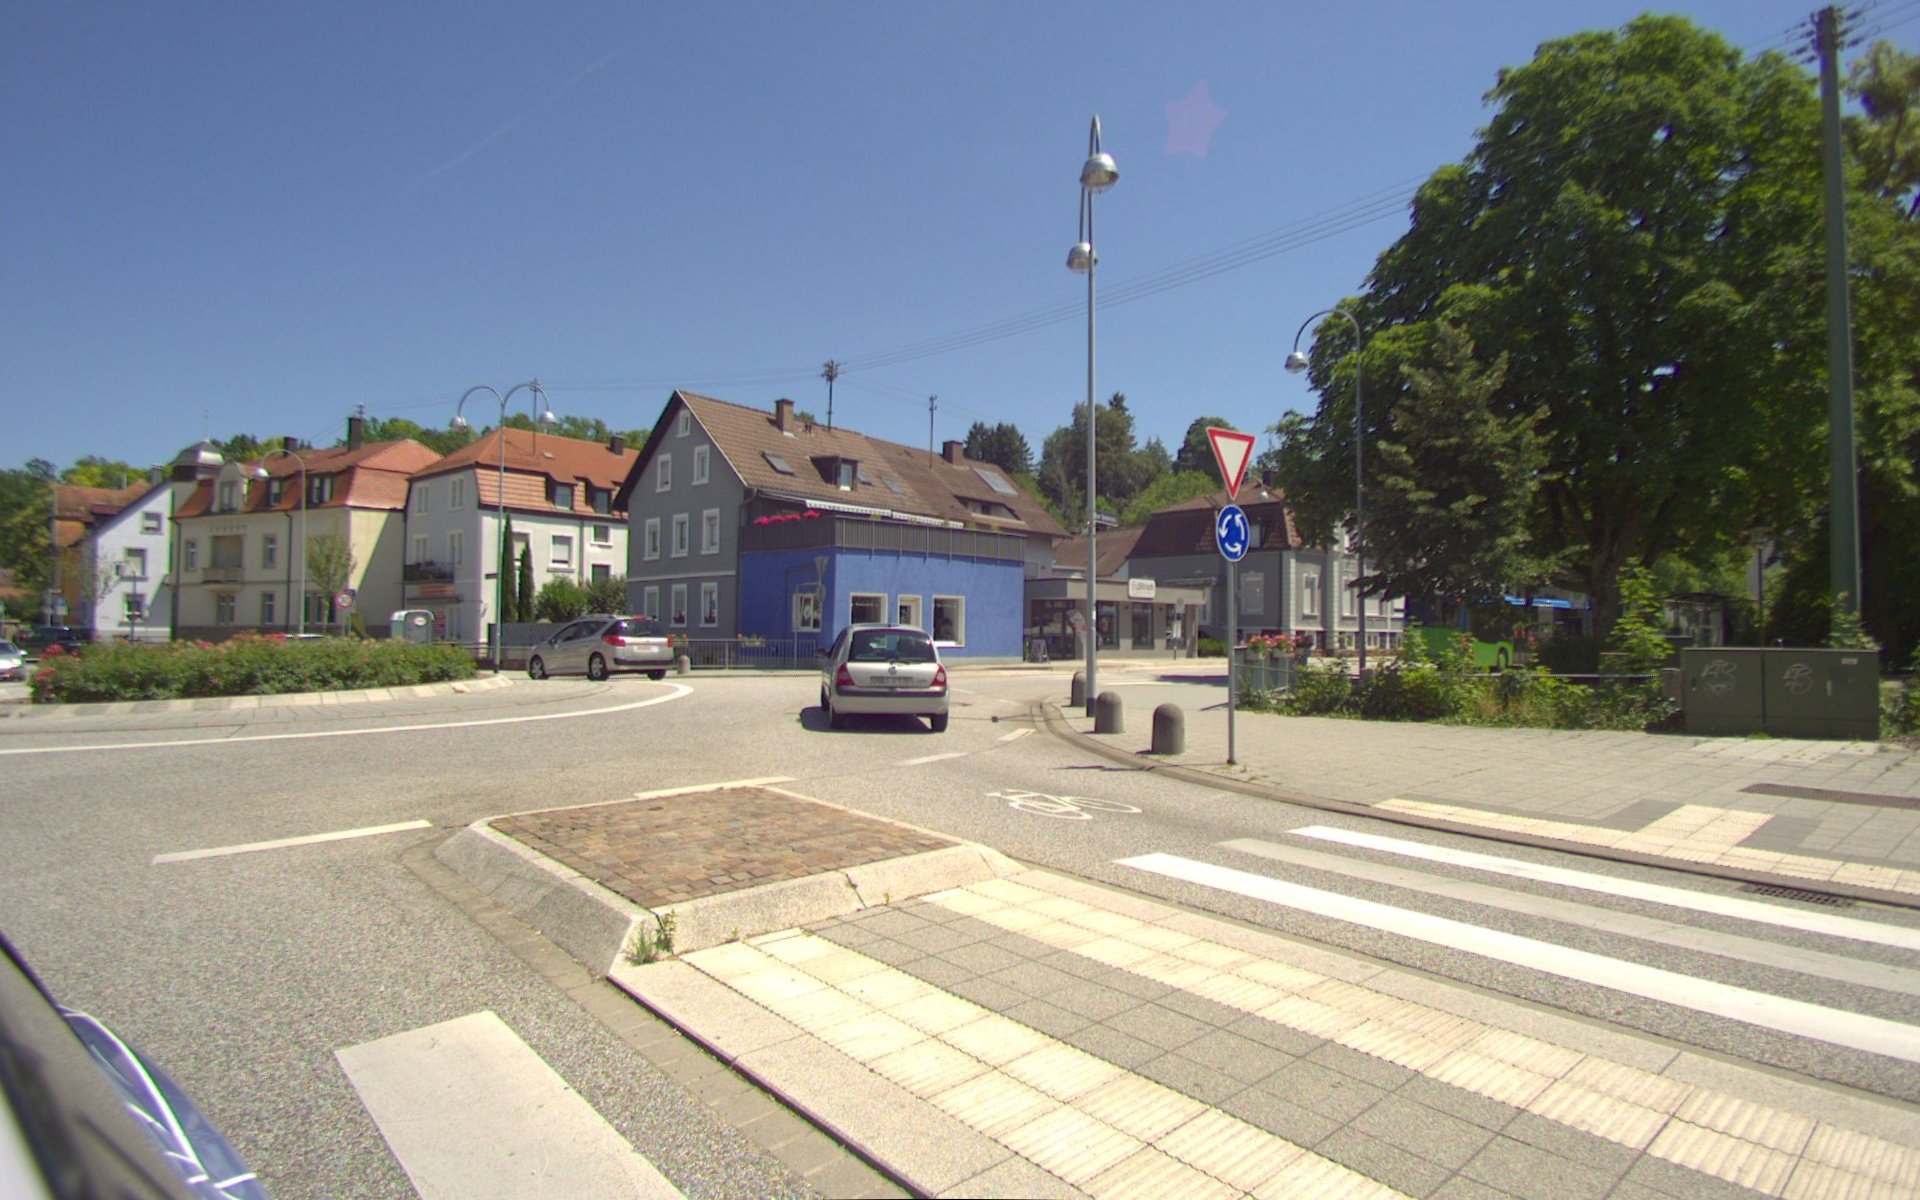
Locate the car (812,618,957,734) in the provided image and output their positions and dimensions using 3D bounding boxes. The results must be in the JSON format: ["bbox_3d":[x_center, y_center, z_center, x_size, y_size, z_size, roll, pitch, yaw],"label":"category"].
[{"bbox_3d":[-1.208,1.026,14.651,1.524,1.423,3.727,3,-2,-12],"label":"car"}]

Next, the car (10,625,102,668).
[{"bbox_3d":[-46.453,2.374,52.008,3.974,2.029,1.985,1,-1,23],"label":"car"}]

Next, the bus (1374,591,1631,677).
[{"bbox_3d":[24.516,1.524,44.699,17.783,3.195,3.725,2,-1,-40],"label":"bus"}]

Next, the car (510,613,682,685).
[{"bbox_3d":[-8.423,1.130,23.303,4.201,1.528,1.724,-2,-4,37],"label":"car"}]

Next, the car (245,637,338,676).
[{"bbox_3d":[-26.977,2.238,40.806,4.065,1.402,1.592,-1,0,32],"label":"car"}]

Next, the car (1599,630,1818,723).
[{"bbox_3d":[13.581,1.347,18.532,3.053,1.564,1.614,-2,-3,36],"label":"car"}]

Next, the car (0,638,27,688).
[{"bbox_3d":[-33.819,2.157,35.064,4.205,1.668,1.971,-2,-3,44],"label":"car"}]
